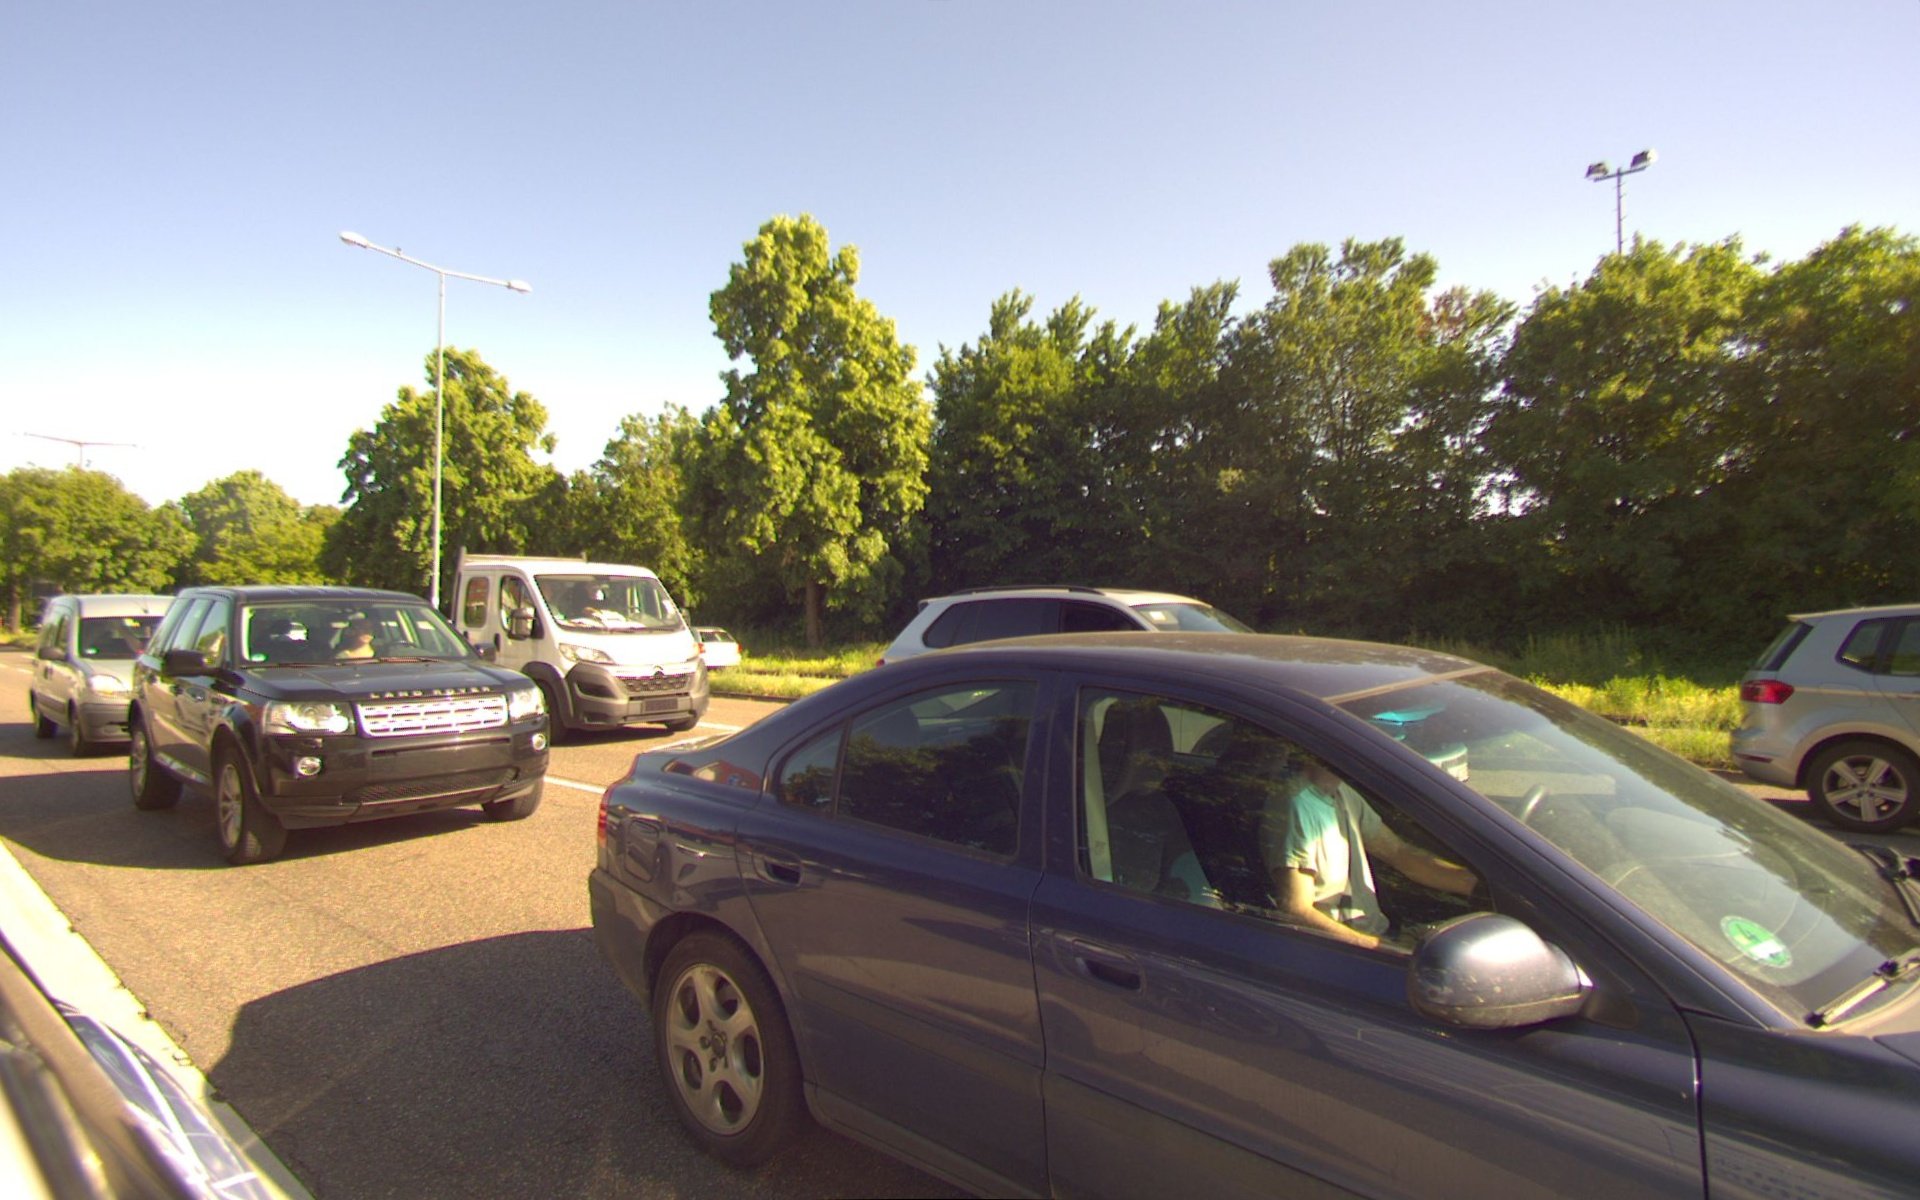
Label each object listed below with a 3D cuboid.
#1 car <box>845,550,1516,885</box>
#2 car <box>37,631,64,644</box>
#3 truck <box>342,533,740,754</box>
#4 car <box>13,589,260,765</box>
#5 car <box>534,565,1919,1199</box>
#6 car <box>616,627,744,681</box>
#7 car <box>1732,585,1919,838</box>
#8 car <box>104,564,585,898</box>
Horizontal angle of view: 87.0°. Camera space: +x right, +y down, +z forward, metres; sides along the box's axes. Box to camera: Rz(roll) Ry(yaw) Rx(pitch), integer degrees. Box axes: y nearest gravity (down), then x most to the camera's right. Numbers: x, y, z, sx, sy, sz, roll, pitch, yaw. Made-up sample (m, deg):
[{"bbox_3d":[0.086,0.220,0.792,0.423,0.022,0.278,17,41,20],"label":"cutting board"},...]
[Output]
[{"bbox_3d":[1.378,0.677,7.433,4.422,1.723,1.973,-2,-3,41],"label":"car"},{"bbox_3d":[-102.716,4.240,114.334,3.998,1.428,1.769,-2,-3,41],"label":"car"},{"bbox_3d":[-5.983,0.496,13.799,6.838,2.337,2.158,-1,-1,40],"label":"truck"},{"bbox_3d":[-10.054,0.800,12.225,4.384,1.765,1.611,-1,-1,41],"label":"car"},{"bbox_3d":[0.890,0.694,2.428,4.454,1.463,1.757,-1,0,41],"label":"car"},{"bbox_3d":[-8.809,1.644,31.705,4.326,1.574,1.624,-1,-3,39],"label":"car"},{"bbox_3d":[7.629,0.721,6.417,4.206,1.623,1.810,-2,-3,42],"label":"car"},{"bbox_3d":[-4.697,0.705,7.423,4.384,1.744,1.793,-1,-1,41],"label":"car"}]
